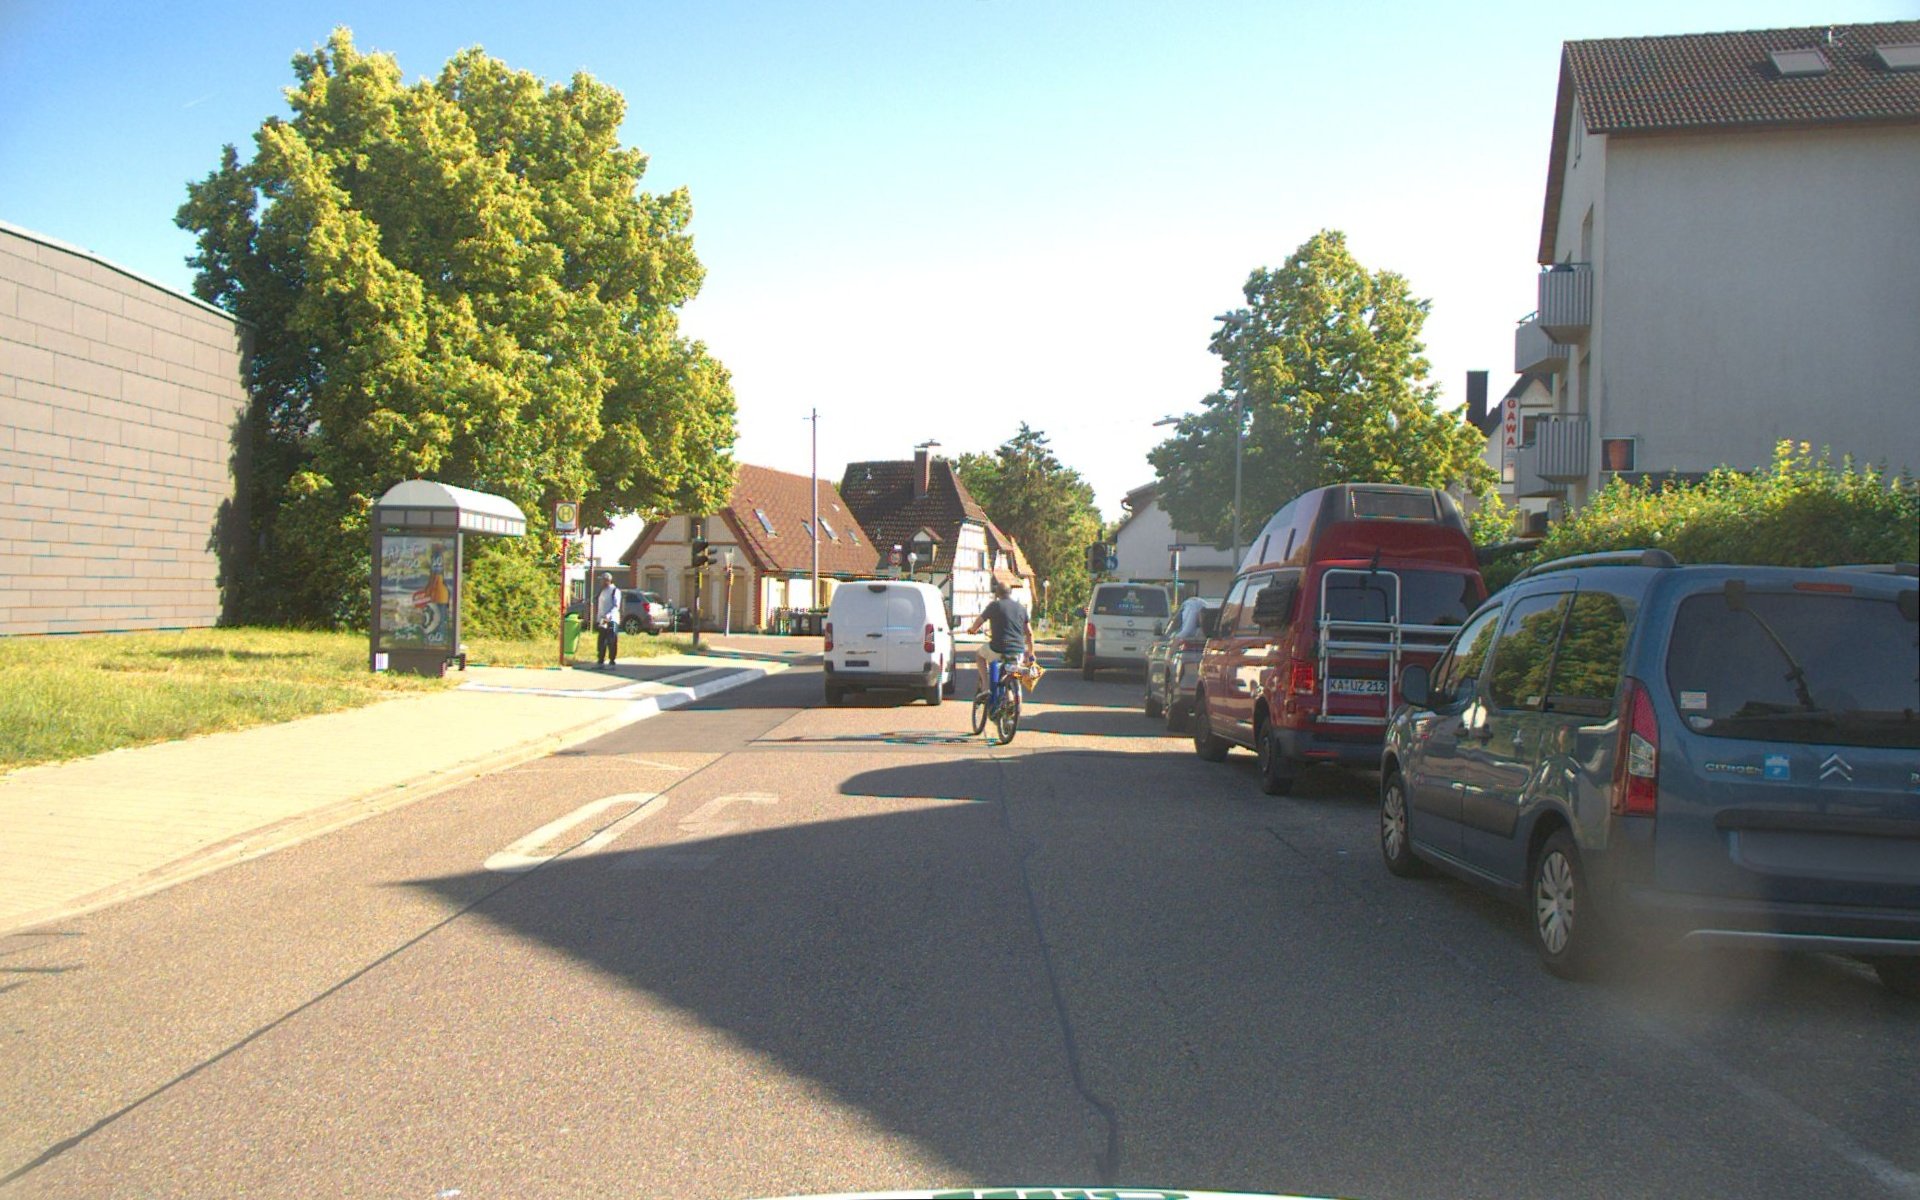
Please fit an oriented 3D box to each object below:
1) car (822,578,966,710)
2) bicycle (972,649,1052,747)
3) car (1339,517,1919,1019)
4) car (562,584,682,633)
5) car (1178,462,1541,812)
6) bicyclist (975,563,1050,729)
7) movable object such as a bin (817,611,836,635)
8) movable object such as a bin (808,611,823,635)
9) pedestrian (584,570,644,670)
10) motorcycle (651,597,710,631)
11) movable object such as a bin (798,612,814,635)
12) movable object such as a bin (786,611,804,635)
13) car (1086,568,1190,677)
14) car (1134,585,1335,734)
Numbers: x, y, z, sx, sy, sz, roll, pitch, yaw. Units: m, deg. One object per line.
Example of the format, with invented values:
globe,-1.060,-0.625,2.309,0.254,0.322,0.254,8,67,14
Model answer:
car,-0.961,0.607,26.369,1.916,1.880,4.562,0,1,2
bicycle,0.565,1.082,18.806,0.759,0.956,2.290,0,0,-2
car,3.463,0.647,8.677,1.819,1.880,4.560,3,0,0
car,-13.153,0.334,64.353,4.133,1.755,1.946,1,0,20
car,3.485,0.271,15.583,1.918,2.690,5.221,2,0,-2
bicyclist,0.588,0.503,18.719,0.749,1.820,0.852,1,0,-2
movable object such as a bin,-5.388,0.940,66.898,0.544,0.941,0.626,1,0,20
movable object such as a bin,-5.861,0.939,67.070,0.402,0.941,0.626,1,0,20
pedestrian,-6.558,0.382,31.346,0.705,1.834,0.766,3,1,42
motorcycle,-11.447,0.569,67.745,2.196,1.317,0.883,0,3,21
movable object such as a bin,-6.263,0.939,67.243,0.404,0.921,0.626,1,0,20
movable object such as a bin,-6.725,0.933,67.417,0.497,0.941,0.626,1,0,20
car,3.706,0.457,35.144,1.952,2.115,4.580,1,0,3
car,3.609,0.717,22.540,1.917,1.768,4.576,2,0,0
